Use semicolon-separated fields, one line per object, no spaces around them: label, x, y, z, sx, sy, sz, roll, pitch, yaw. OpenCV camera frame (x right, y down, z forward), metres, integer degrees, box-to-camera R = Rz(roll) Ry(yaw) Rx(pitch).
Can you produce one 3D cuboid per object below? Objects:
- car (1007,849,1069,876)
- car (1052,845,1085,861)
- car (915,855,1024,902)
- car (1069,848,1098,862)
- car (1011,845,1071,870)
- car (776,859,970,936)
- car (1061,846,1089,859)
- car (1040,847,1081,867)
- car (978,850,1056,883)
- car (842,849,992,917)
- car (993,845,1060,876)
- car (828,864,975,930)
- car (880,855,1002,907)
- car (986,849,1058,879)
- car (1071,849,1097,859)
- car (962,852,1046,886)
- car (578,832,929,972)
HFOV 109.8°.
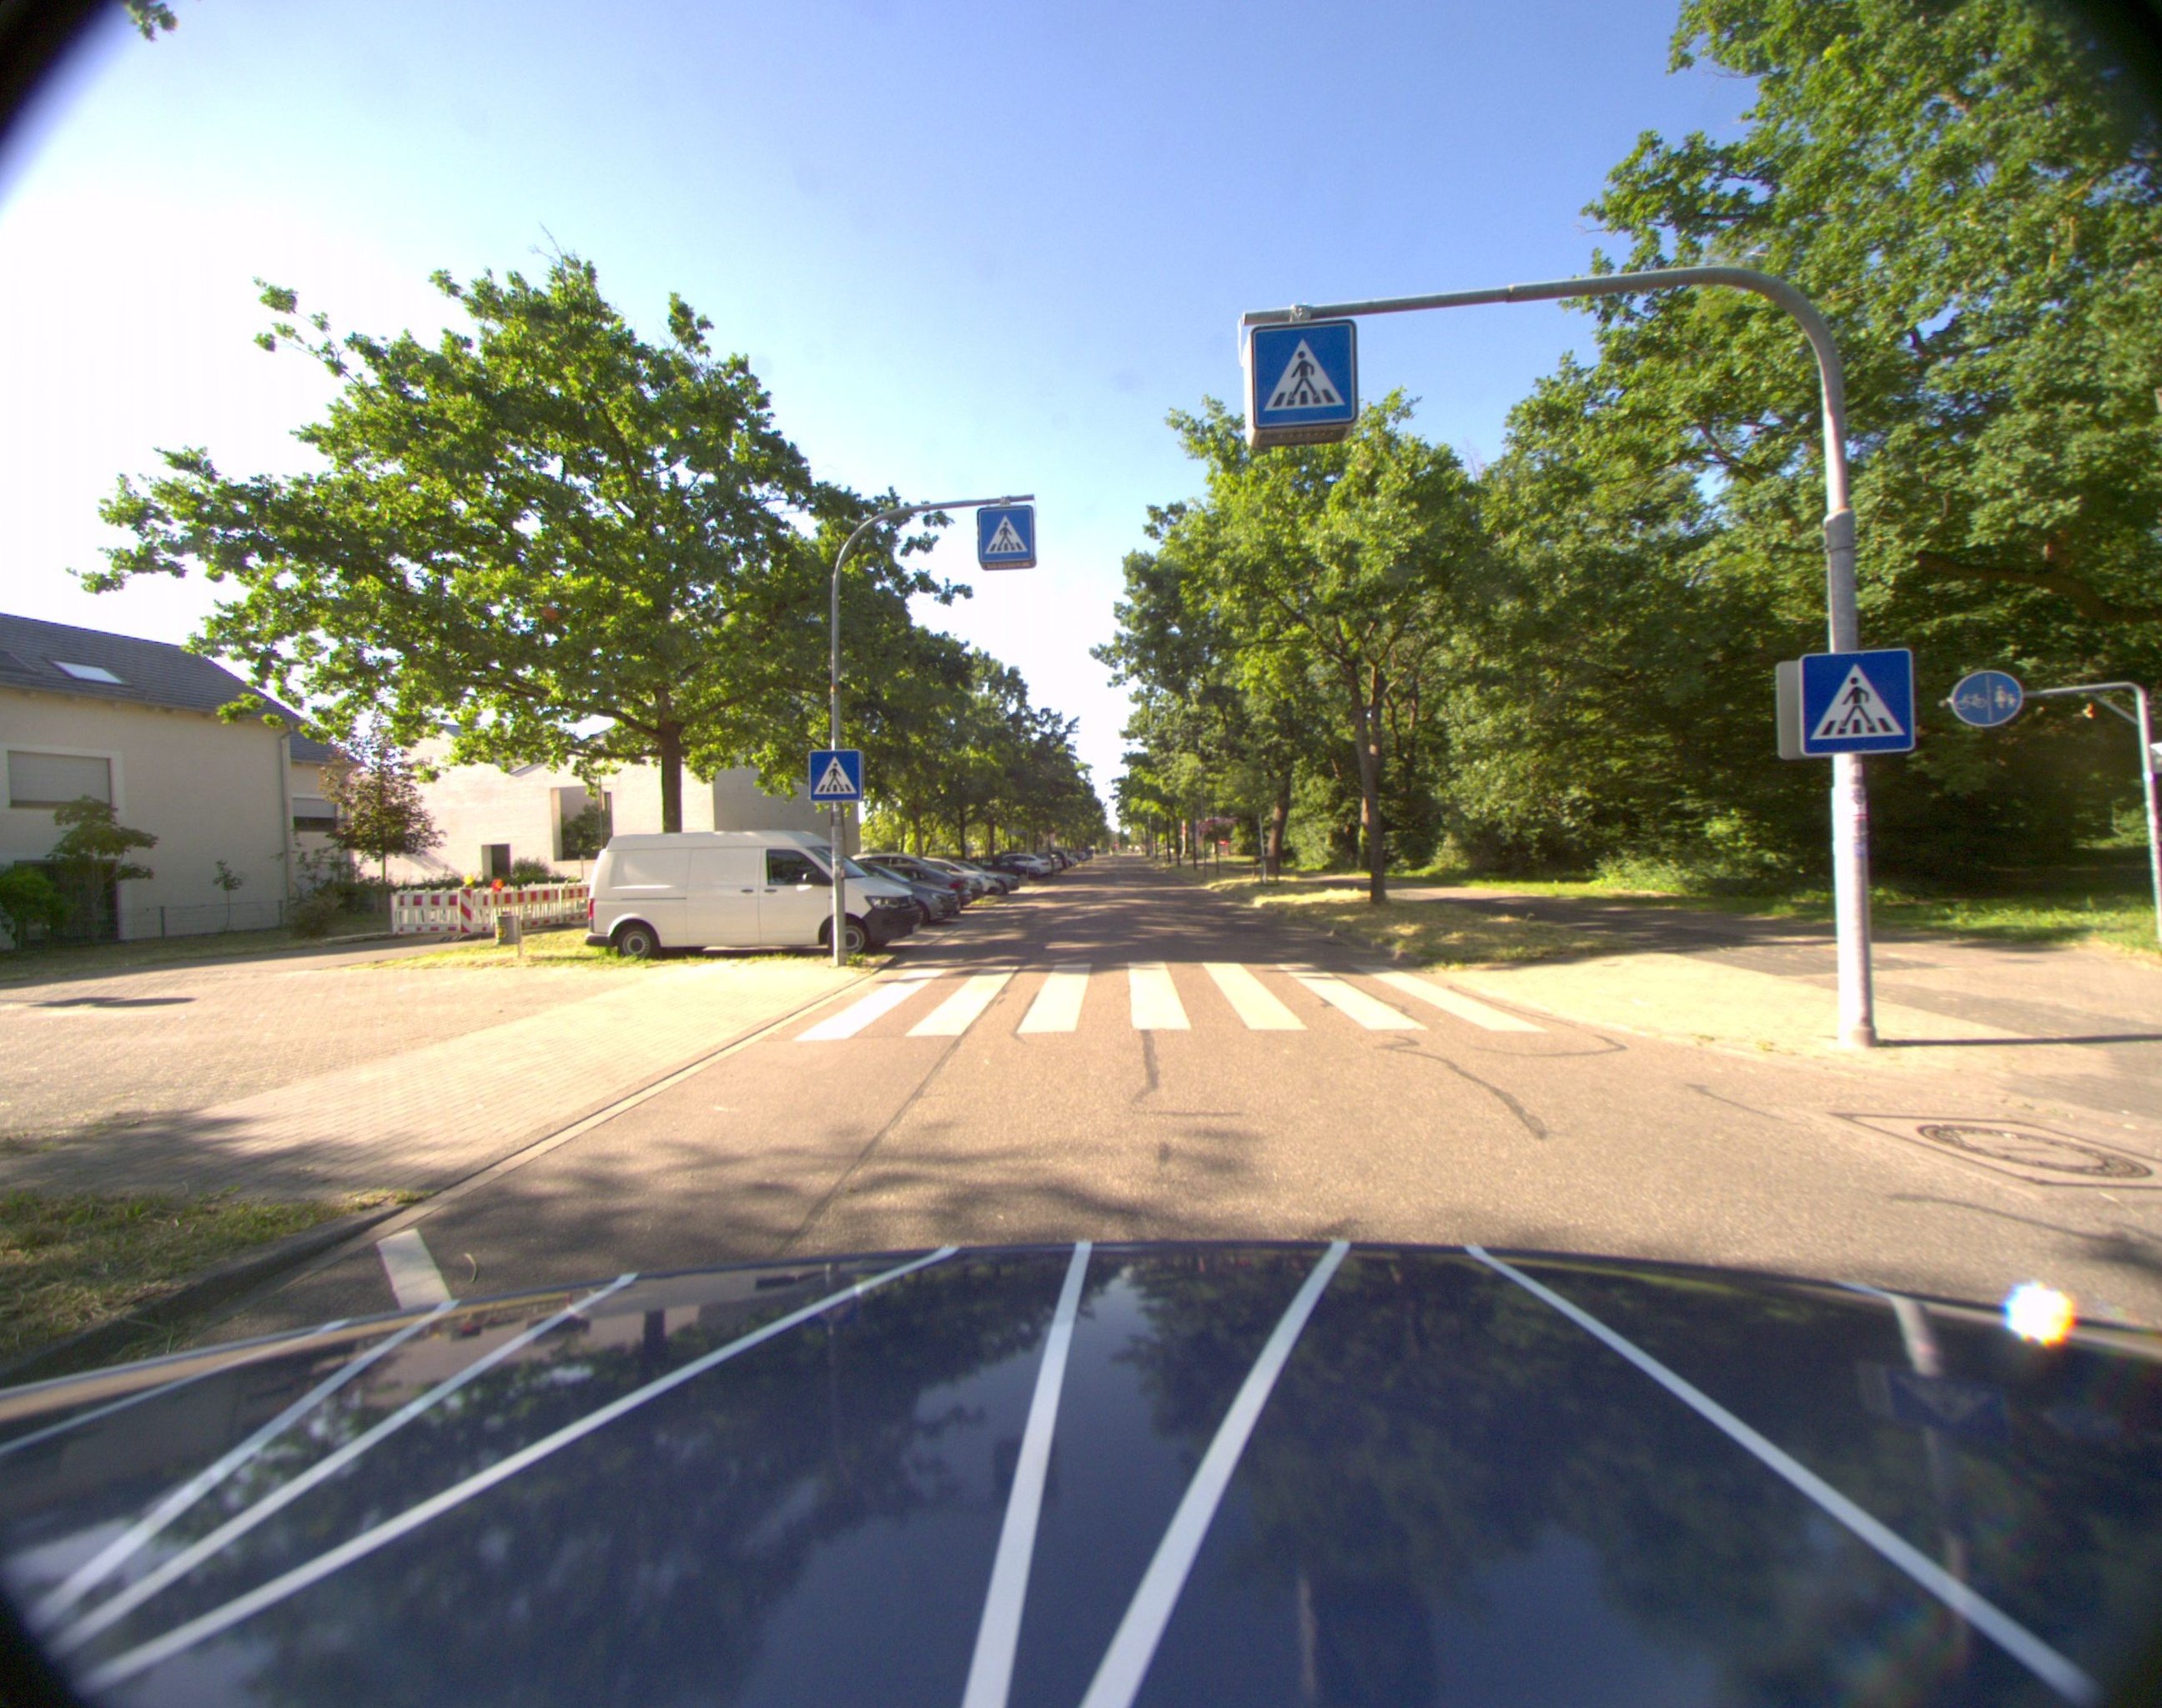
car;-3.224;0.627;57.041;4.394;1.733;1.533;-3;1;4
car;-1.627;-0.110;100.620;4.150;1.838;1.949;-3;1;3
car;-4.428;0.954;30.584;4.018;1.650;1.533;-3;1;4
car;0.349;0.082;111.769;4.150;1.838;1.949;-3;1;3
car;-3.068;0.238;58.937;4.394;1.733;1.533;-3;1;4
car;-4.827;0.993;17.976;3.996;1.554;1.758;-3;1;4
car;-0.875;-0.228;116.878;4.150;1.838;1.949;-3;1;3
car;-2.117;0.318;79.603;3.996;1.838;1.863;-3;1;3
car;-3.796;0.733;45.713;4.394;1.733;1.533;-3;1;4
car;-4.889;0.845;23.004;4.018;1.783;1.713;-3;1;4
car;-3.787;0.450;53.115;4.394;1.977;1.533;-3;1;4
car;-4.773;1.125;20.453;3.515;1.533;1.448;-3;1;4
car;-5.038;0.960;27.613;4.018;1.669;1.533;-3;1;4
car;-3.822;0.617;49.728;4.394;1.733;1.533;-3;1;4
car;0.503;0.002;121.855;4.150;1.401;1.800;-3;1;3
car;-4.294;0.832;42.701;4.394;1.632;1.533;-3;1;4
car;-5.315;0.752;12.812;5.045;2.069;1.891;-2;1;2
